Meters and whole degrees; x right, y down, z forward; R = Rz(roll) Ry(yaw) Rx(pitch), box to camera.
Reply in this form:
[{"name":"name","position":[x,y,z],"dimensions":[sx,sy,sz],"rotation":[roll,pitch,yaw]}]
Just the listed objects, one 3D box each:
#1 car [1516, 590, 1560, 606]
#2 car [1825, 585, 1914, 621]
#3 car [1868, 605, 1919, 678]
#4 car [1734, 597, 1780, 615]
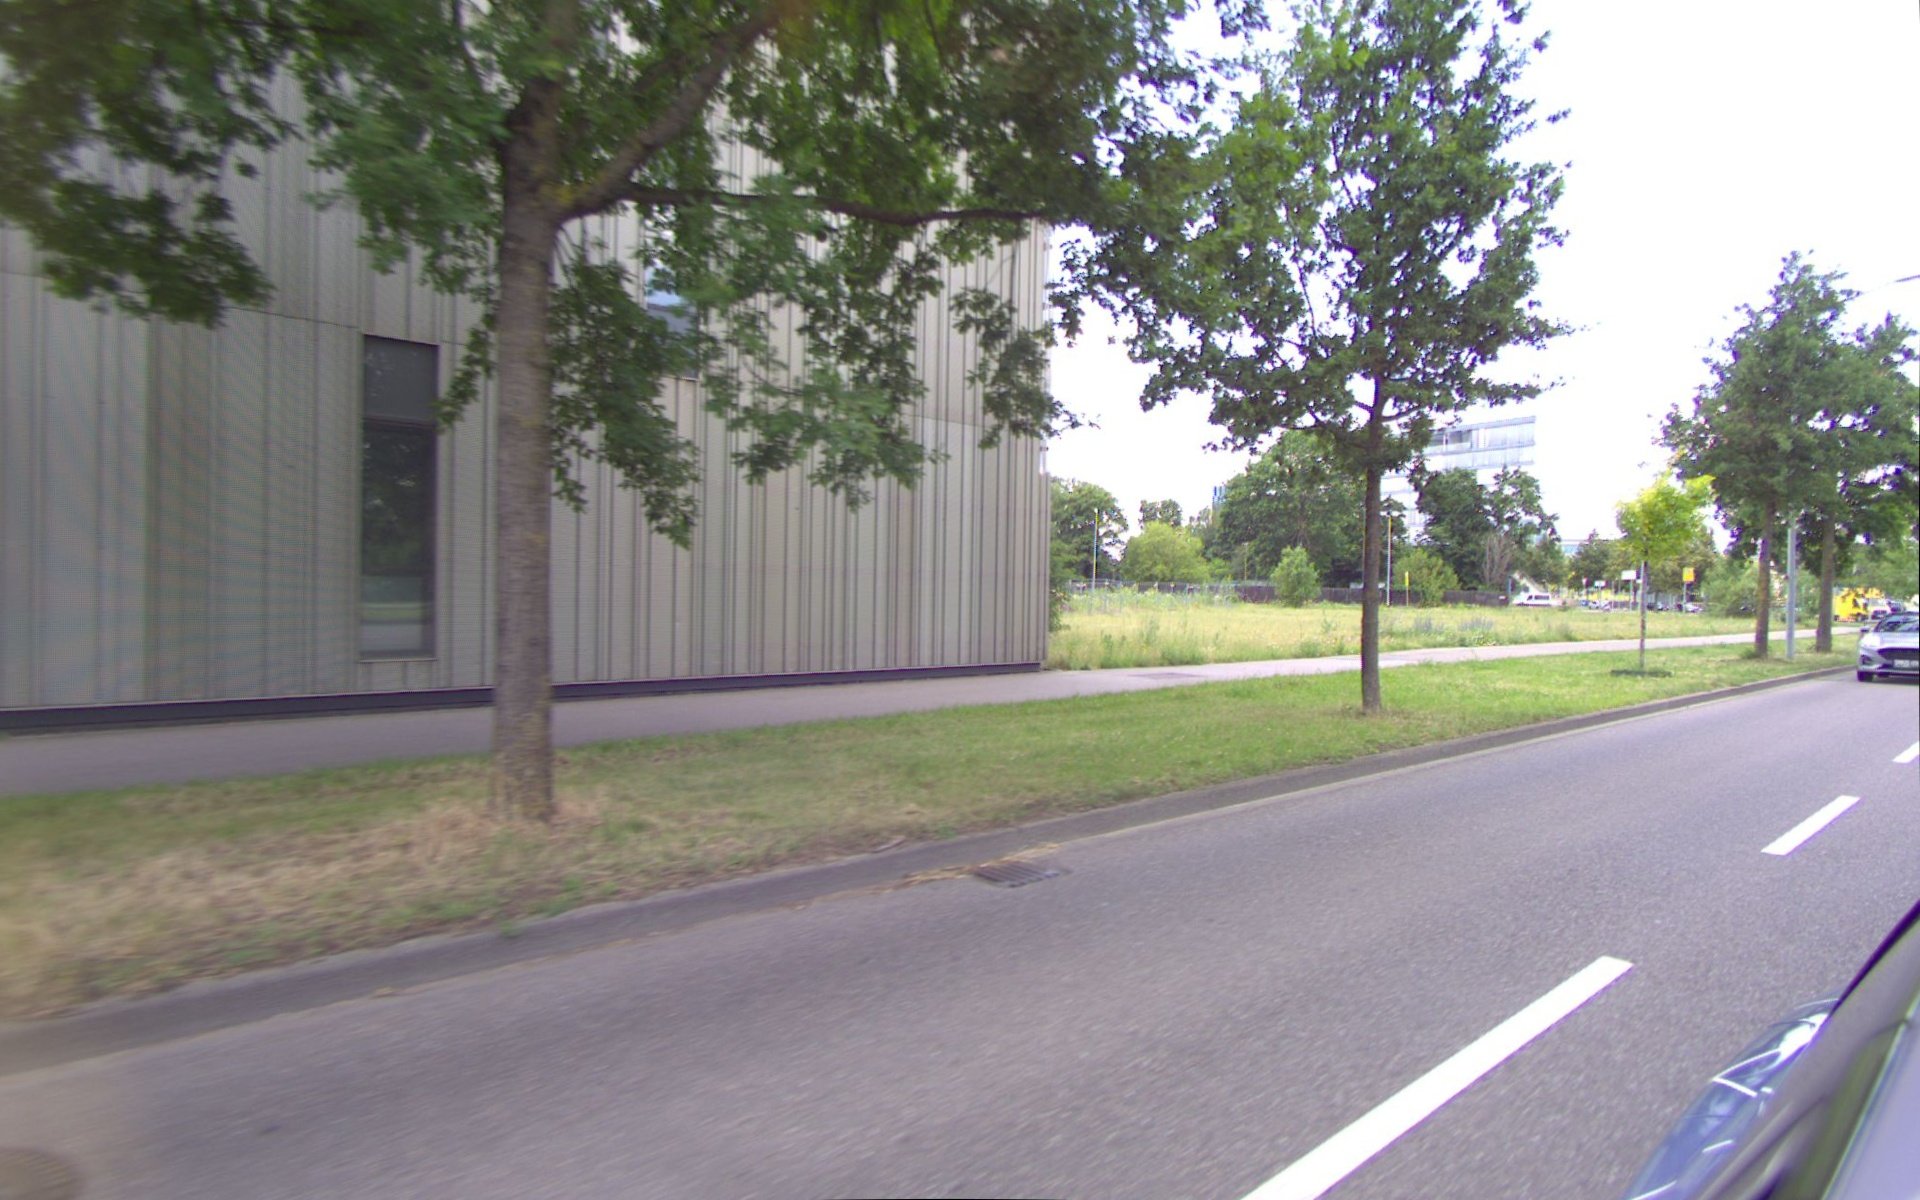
[{"name":"car","position":[78.956,-0.234,138.288],"dimensions":[5.044,2.175,2.153],"rotation":[0,0,-11]},{"name":"car","position":[76.051,0.184,84.846],"dimensions":[2.251,2.889,7.227],"rotation":[1,1,13]},{"name":"car","position":[21.252,0.867,21.842],"dimensions":[4.015,1.489,1.675],"rotation":[0,0,-36]},{"name":"car","position":[83.176,0.625,105.727],"dimensions":[1.972,1.695,5.045],"rotation":[2,2,16]}]
